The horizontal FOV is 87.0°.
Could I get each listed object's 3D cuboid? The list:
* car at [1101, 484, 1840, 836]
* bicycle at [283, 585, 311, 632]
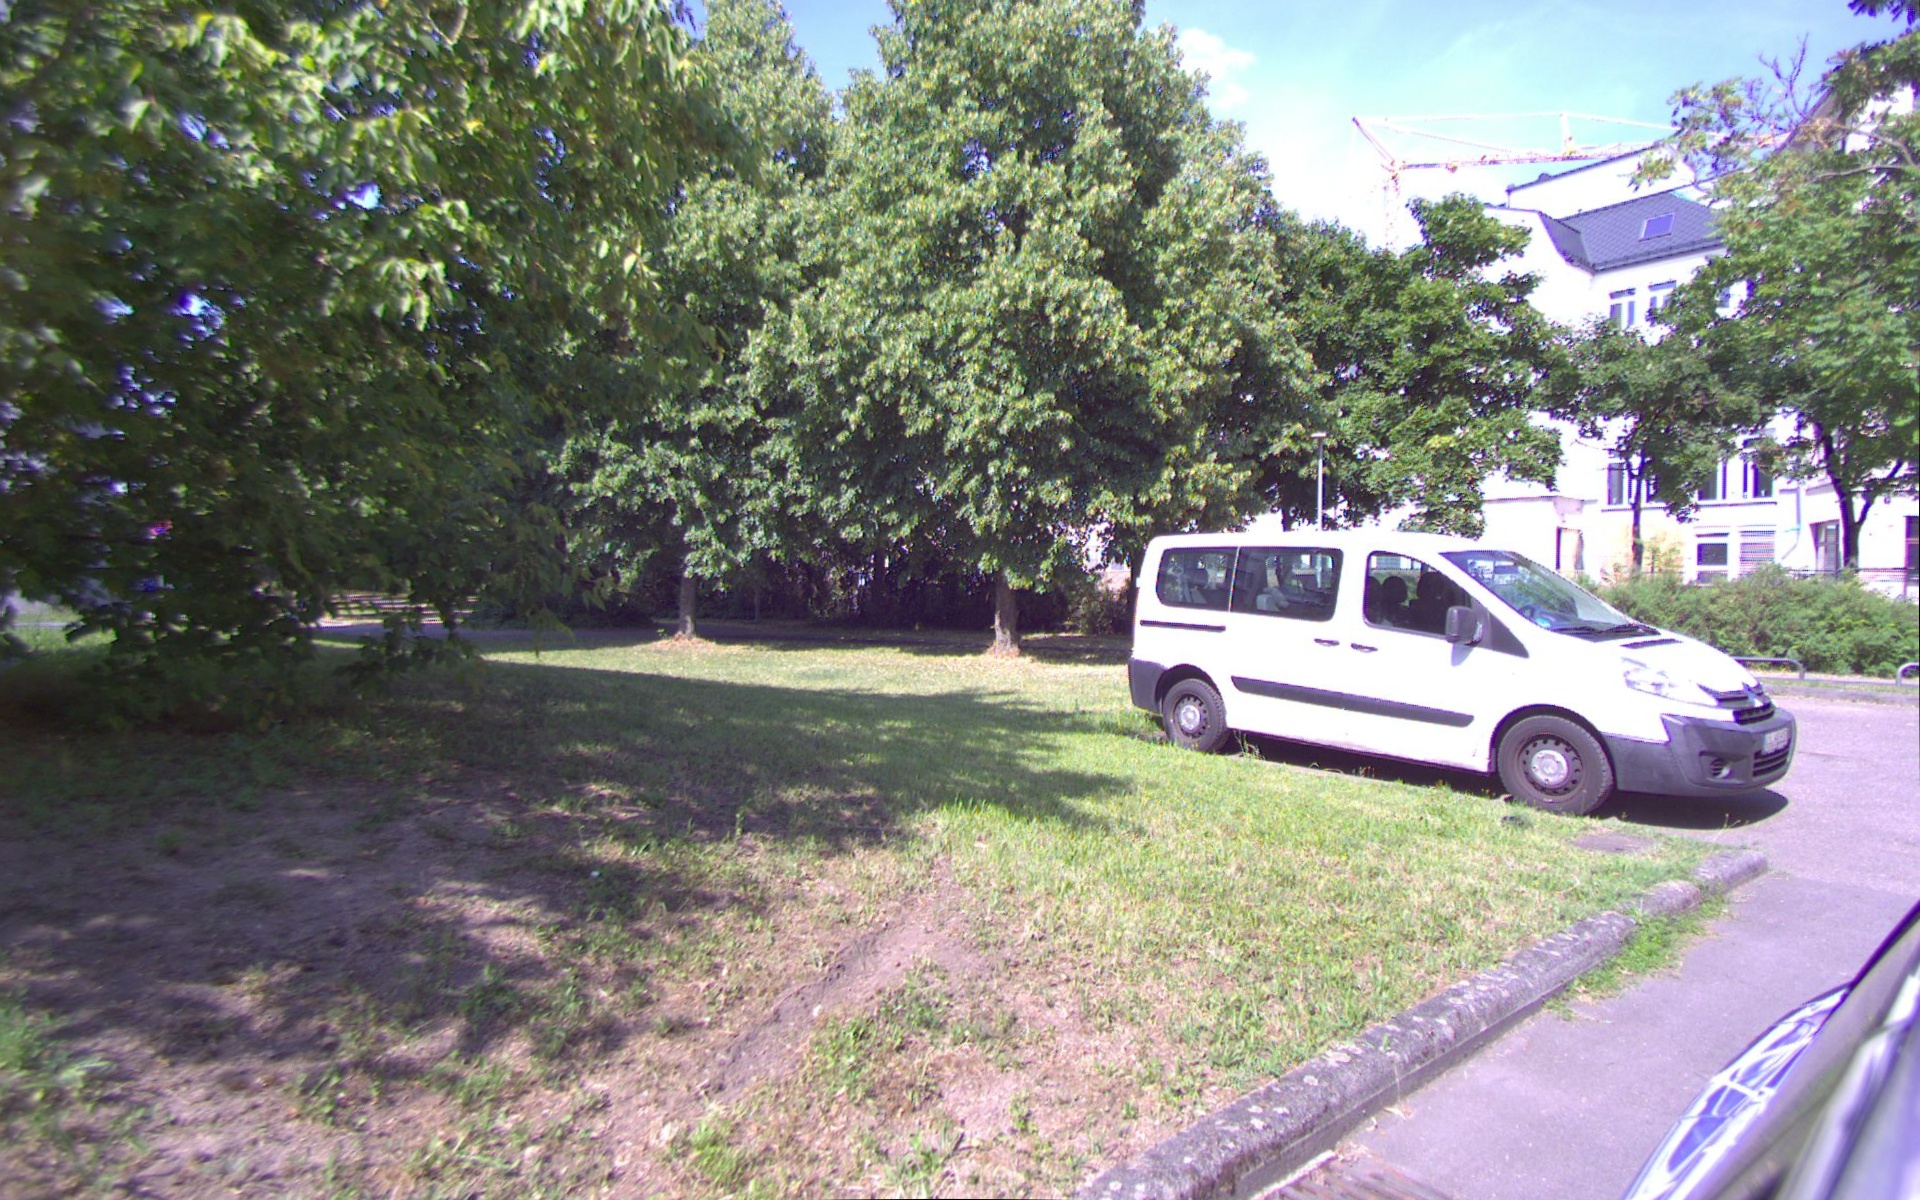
[{"bbox_3d":[3.631,0.291,8.251,1.962,1.957,5.039,0,1,-36],"label":"car"},{"bbox_3d":[-15.660,0.195,23.894,0.388,1.062,1.448,1,0,-40],"label":"bicycle"}]
